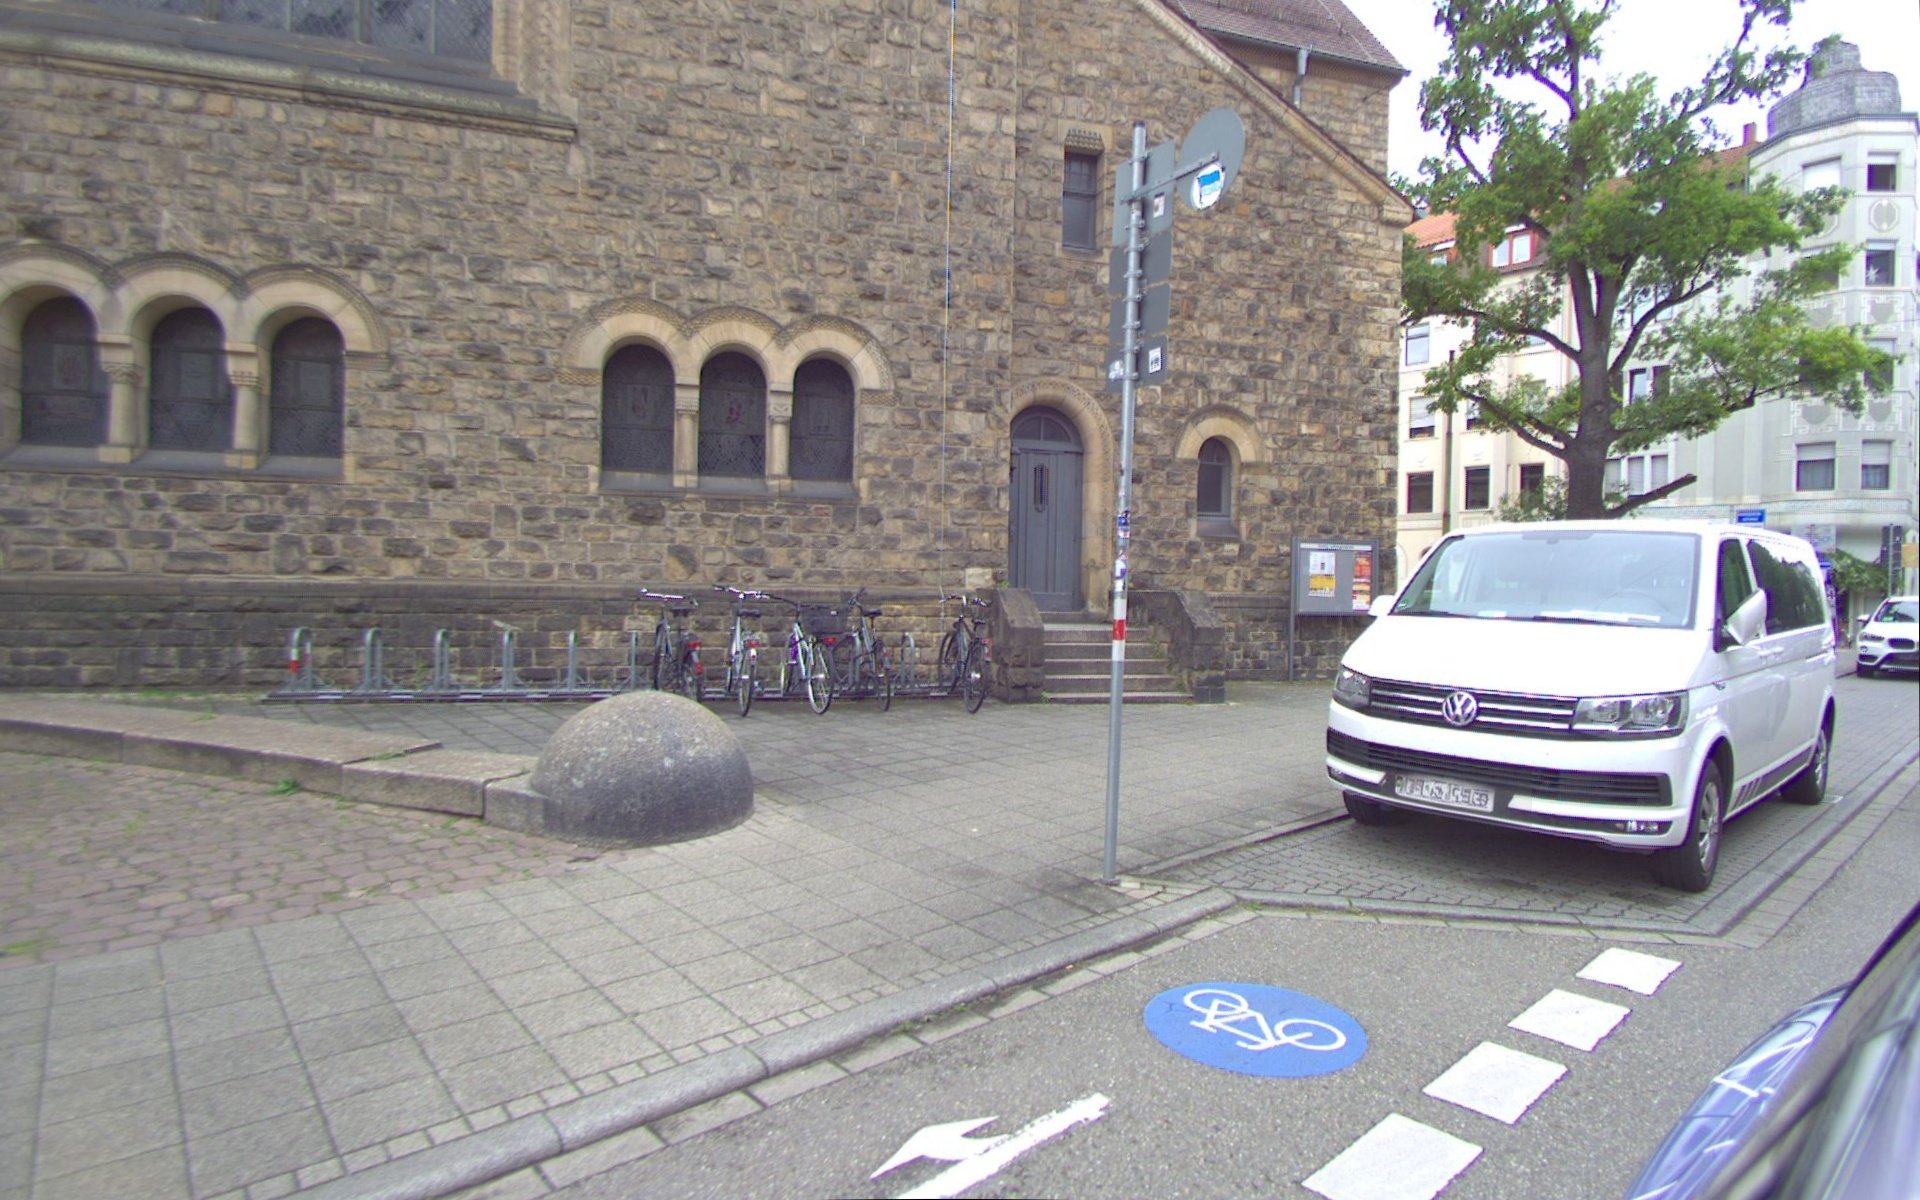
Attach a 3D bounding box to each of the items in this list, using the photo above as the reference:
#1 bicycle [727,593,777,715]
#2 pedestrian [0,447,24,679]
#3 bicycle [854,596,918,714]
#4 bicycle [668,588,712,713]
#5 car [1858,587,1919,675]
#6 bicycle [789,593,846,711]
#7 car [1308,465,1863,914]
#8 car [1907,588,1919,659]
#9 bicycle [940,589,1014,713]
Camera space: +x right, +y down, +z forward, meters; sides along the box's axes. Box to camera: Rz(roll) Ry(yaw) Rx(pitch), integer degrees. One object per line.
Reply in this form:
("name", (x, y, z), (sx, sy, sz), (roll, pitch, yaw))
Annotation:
("bicycle", (-2.033, 0.484, 9.823), (0.304, 1.073, 1.387), (1, 1, -18))
("pedestrian", (-5.555, 0.061, 4.991), (0.998, 1.831, 0.818), (6, -1, -19))
("bicycle", (-0.757, 0.511, 10.074), (0.304, 1.073, 1.346), (1, 1, -18))
("bicycle", (-2.553, 0.436, 9.512), (0.304, 1.073, 1.387), (1, 1, -18))
("car", (18.879, 0.570, 19.508), (3.930, 1.585, 1.819), (0, 1, -41))
("bicycle", (-1.444, 0.479, 10.129), (0.304, 1.073, 1.387), (1, 1, -18))
("car", (4.466, 0.372, 6.771), (5.075, 1.944, 1.808), (0, 1, -42))
("car", (23.464, 0.542, 23.428), (3.930, 1.585, 1.819), (0, 1, -41))
("bicycle", (0.149, 0.479, 10.316), (0.304, 1.161, 1.346), (1, 1, -18))
